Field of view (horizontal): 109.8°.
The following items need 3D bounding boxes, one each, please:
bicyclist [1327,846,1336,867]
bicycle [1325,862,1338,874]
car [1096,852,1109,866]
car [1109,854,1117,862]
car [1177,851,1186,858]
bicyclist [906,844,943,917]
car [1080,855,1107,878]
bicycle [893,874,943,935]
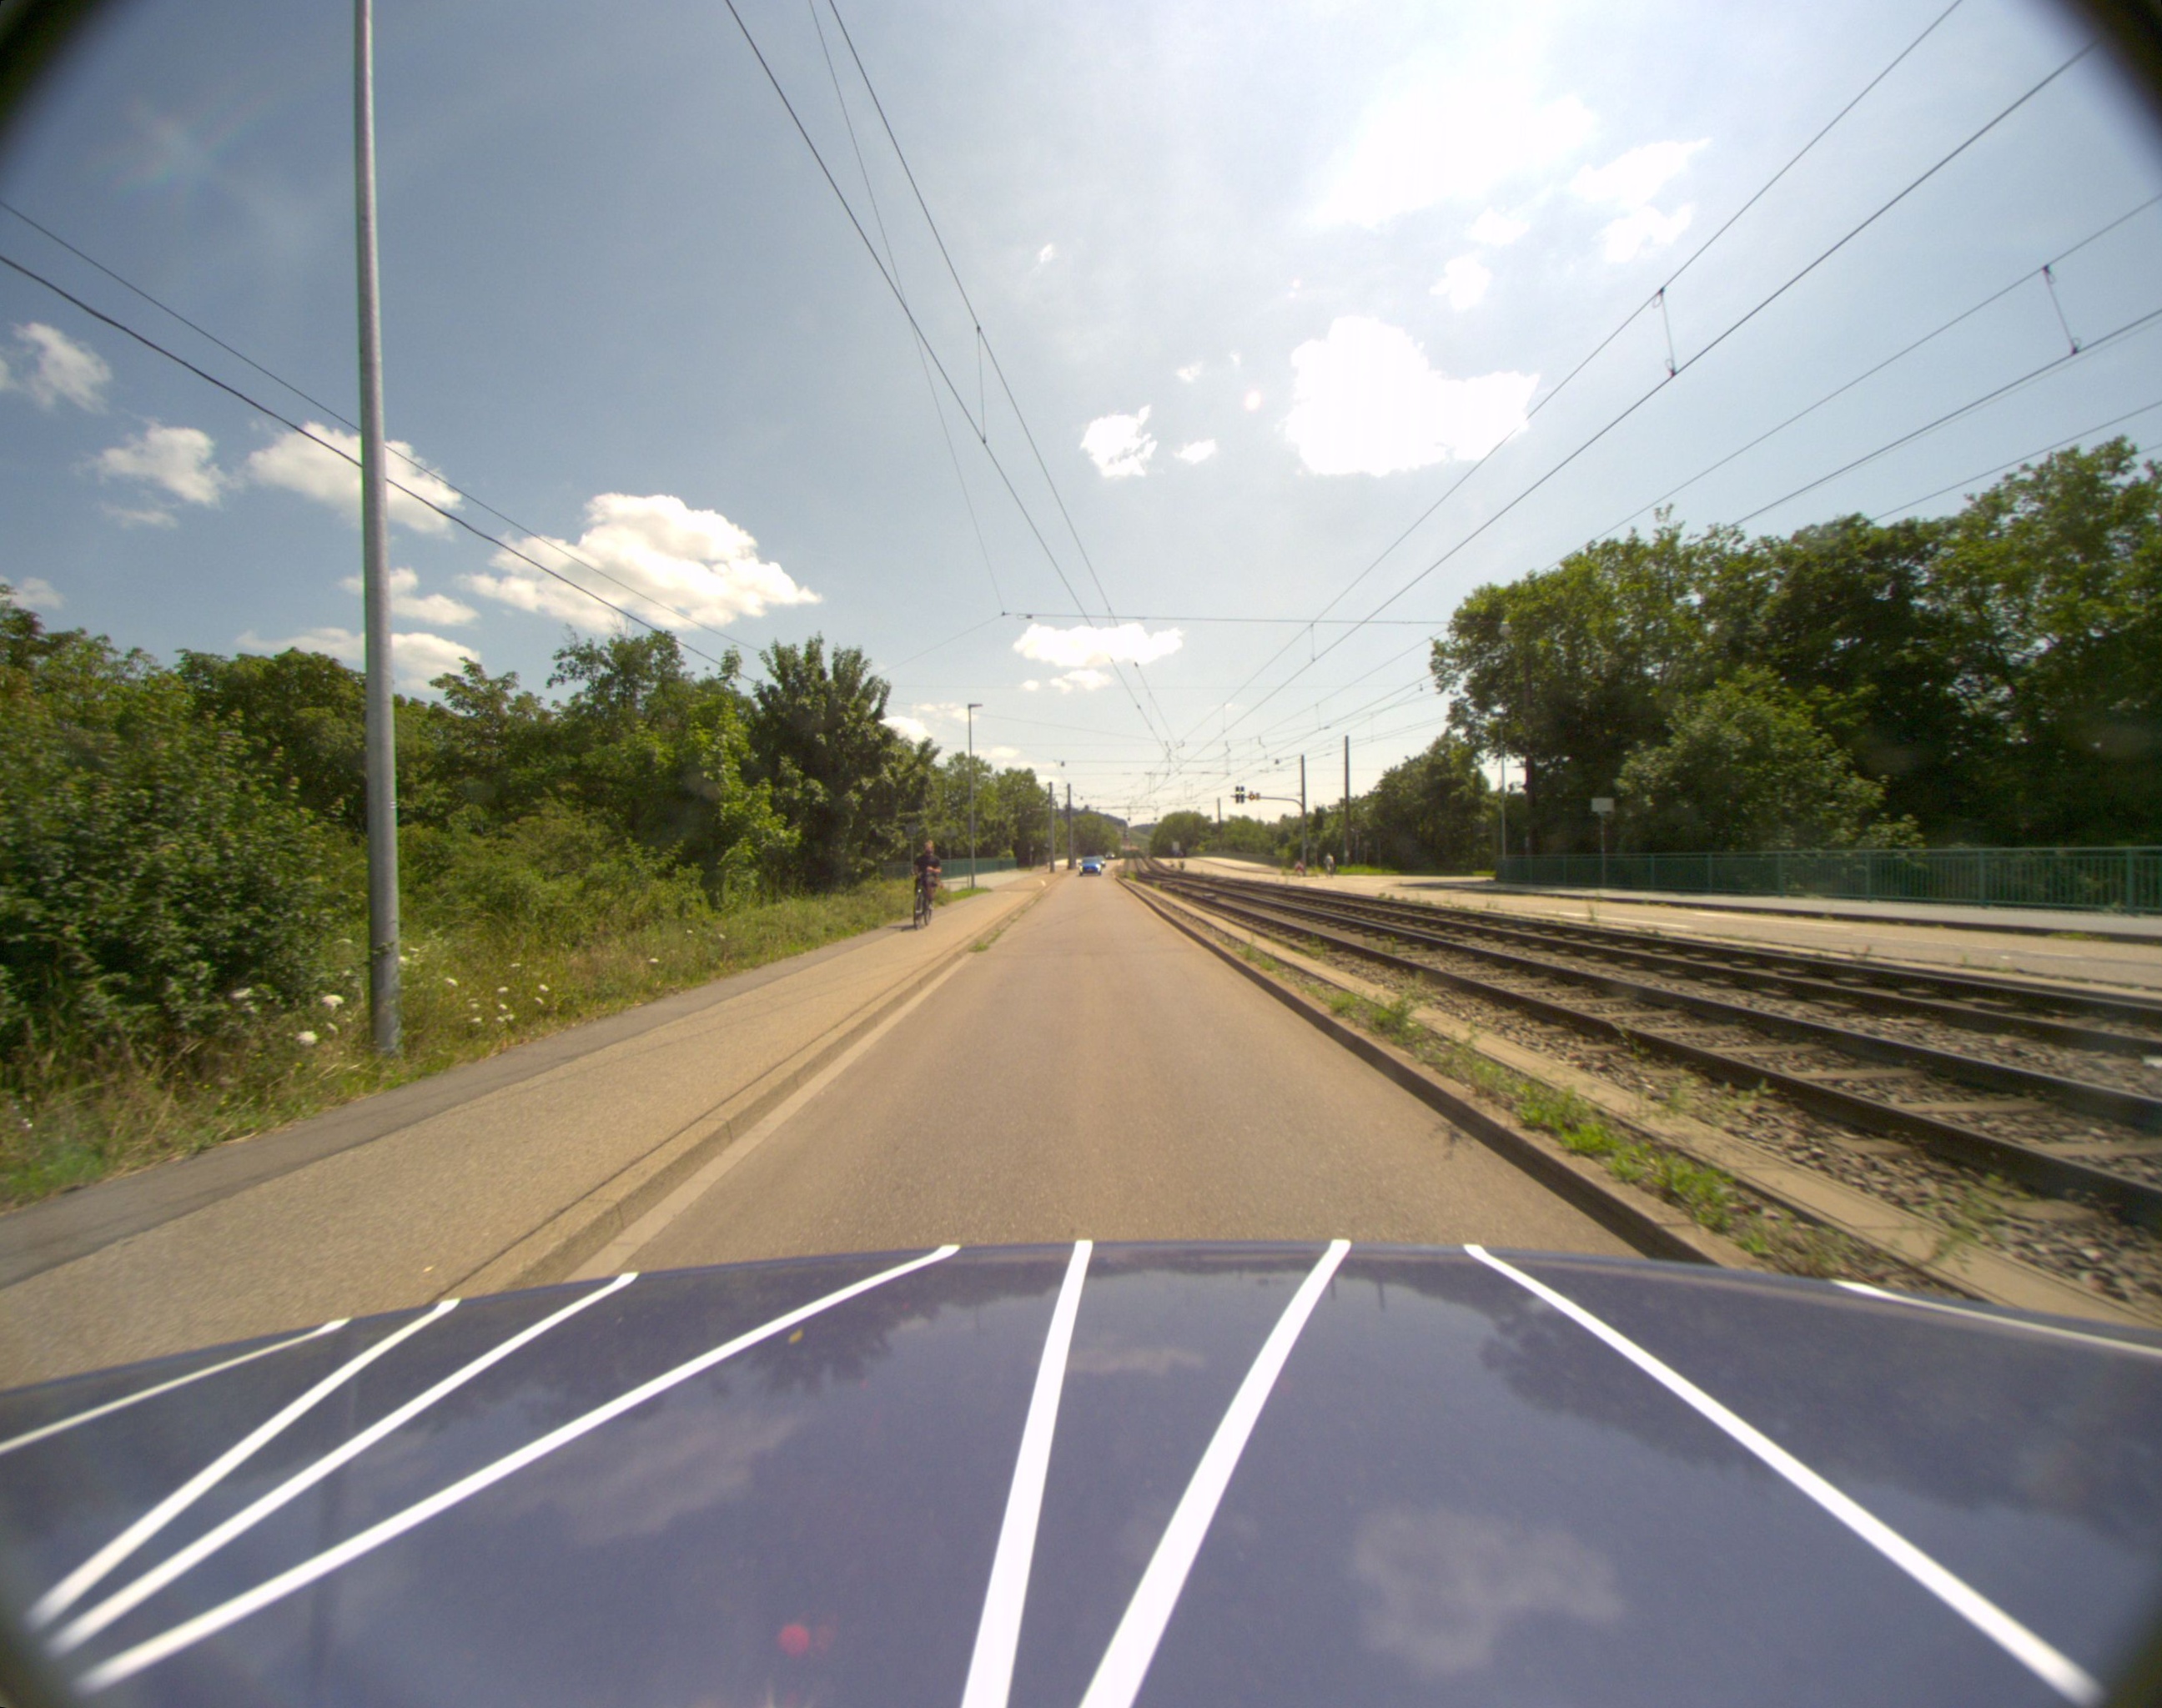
[{"bbox_3d":[18.202,0.171,55.288,0.457,1.465,0.633,-1,1,3],"label":"bicyclist"},{"bbox_3d":[18.222,1.001,55.299,0.470,0.863,1.743,-1,0,3],"label":"bicycle"},{"bbox_3d":[2.850,0.672,100.208,1.683,1.737,3.686,-2,-1,1],"label":"car"},{"bbox_3d":[6.819,0.891,160.994,1.730,1.696,4.001,-1,0,3],"label":"car"},{"bbox_3d":[21.411,0.144,161.611,1.708,1.501,3.734,0,0,5],"label":"car"},{"bbox_3d":[-3.302,0.561,16.052,0.586,1.486,0.558,-2,-1,5],"label":"bicyclist"},{"bbox_3d":[0.992,0.975,58.724,1.864,1.630,4.002,-2,-1,3],"label":"car"},{"bbox_3d":[-3.321,1.007,15.651,0.433,1.145,1.856,-2,-1,5],"label":"bicycle"}]
